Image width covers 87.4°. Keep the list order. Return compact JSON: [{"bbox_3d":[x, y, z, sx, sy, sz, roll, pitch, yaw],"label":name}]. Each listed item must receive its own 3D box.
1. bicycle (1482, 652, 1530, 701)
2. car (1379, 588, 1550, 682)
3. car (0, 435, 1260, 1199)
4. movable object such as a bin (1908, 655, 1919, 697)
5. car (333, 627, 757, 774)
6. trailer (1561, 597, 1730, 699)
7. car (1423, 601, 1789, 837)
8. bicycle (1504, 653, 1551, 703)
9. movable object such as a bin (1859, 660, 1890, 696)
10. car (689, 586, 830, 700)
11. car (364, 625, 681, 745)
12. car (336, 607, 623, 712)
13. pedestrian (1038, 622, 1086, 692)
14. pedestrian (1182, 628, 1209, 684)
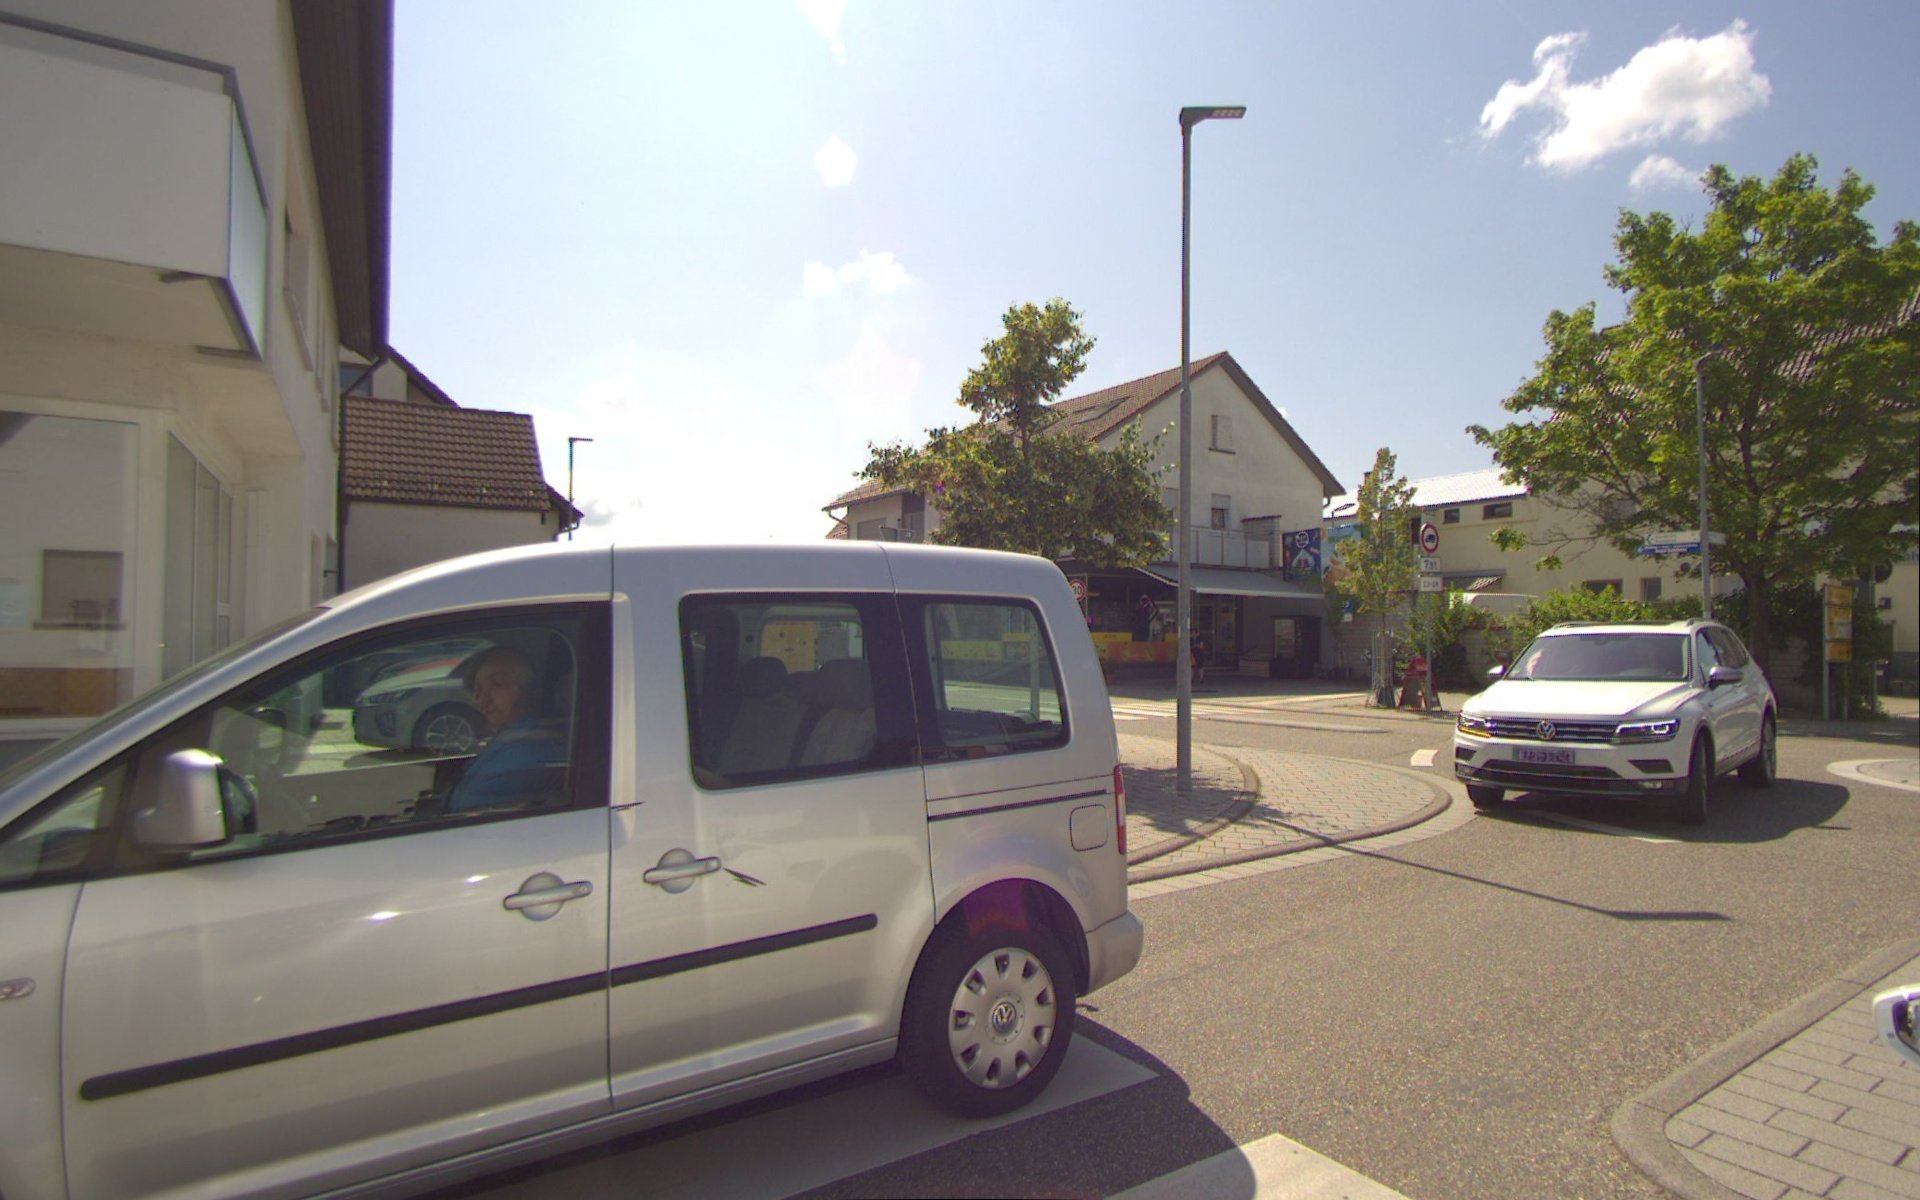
[{"bbox_3d":[12.656,1.750,23.259,1.969,1.017,0.396,0,-1,-44],"label":"bicycle"},{"bbox_3d":[15.215,1.032,30.160,5.583,2.601,1.926,2,0,-32],"label":"car"},{"bbox_3d":[-1.224,0.688,3.229,4.394,1.844,1.762,2,-3,-33],"label":"car"},{"bbox_3d":[25.440,2.004,26.388,0.650,1.093,0.597,1,-2,-29],"label":"movable object such as a bin"},{"bbox_3d":[-4.879,1.100,12.034,4.431,1.469,1.820,2,-2,-33],"label":"car"},{"bbox_3d":[17.359,1.174,25.382,4.472,2.366,1.869,2,0,-32],"label":"trailer"},{"bbox_3d":[6.339,0.985,9.620,4.510,1.732,1.849,2,-5,-43],"label":"car"},{"bbox_3d":[12.975,1.757,22.947,1.969,1.017,0.396,0,-1,-44],"label":"bicycle"},{"bbox_3d":[24.793,2.111,27.226,0.540,0.940,0.477,1,-2,-29],"label":"movable object such as a bin"},{"bbox_3d":[-5.322,1.079,25.976,2.086,2.606,5.644,1,-2,-28],"label":"car"},{"bbox_3d":[-6.209,1.152,14.382,3.921,1.496,1.737,2,-2,-33],"label":"car"},{"bbox_3d":[-9.043,1.109,19.046,4.698,1.762,1.970,2,-2,-33],"label":"car"},{"bbox_3d":[2.763,1.519,27.149,1.012,1.850,0.776,-1,0,-33],"label":"pedestrian"},{"bbox_3d":[6.860,1.627,29.295,0.735,1.610,0.881,-1,-1,11],"label":"pedestrian"}]
